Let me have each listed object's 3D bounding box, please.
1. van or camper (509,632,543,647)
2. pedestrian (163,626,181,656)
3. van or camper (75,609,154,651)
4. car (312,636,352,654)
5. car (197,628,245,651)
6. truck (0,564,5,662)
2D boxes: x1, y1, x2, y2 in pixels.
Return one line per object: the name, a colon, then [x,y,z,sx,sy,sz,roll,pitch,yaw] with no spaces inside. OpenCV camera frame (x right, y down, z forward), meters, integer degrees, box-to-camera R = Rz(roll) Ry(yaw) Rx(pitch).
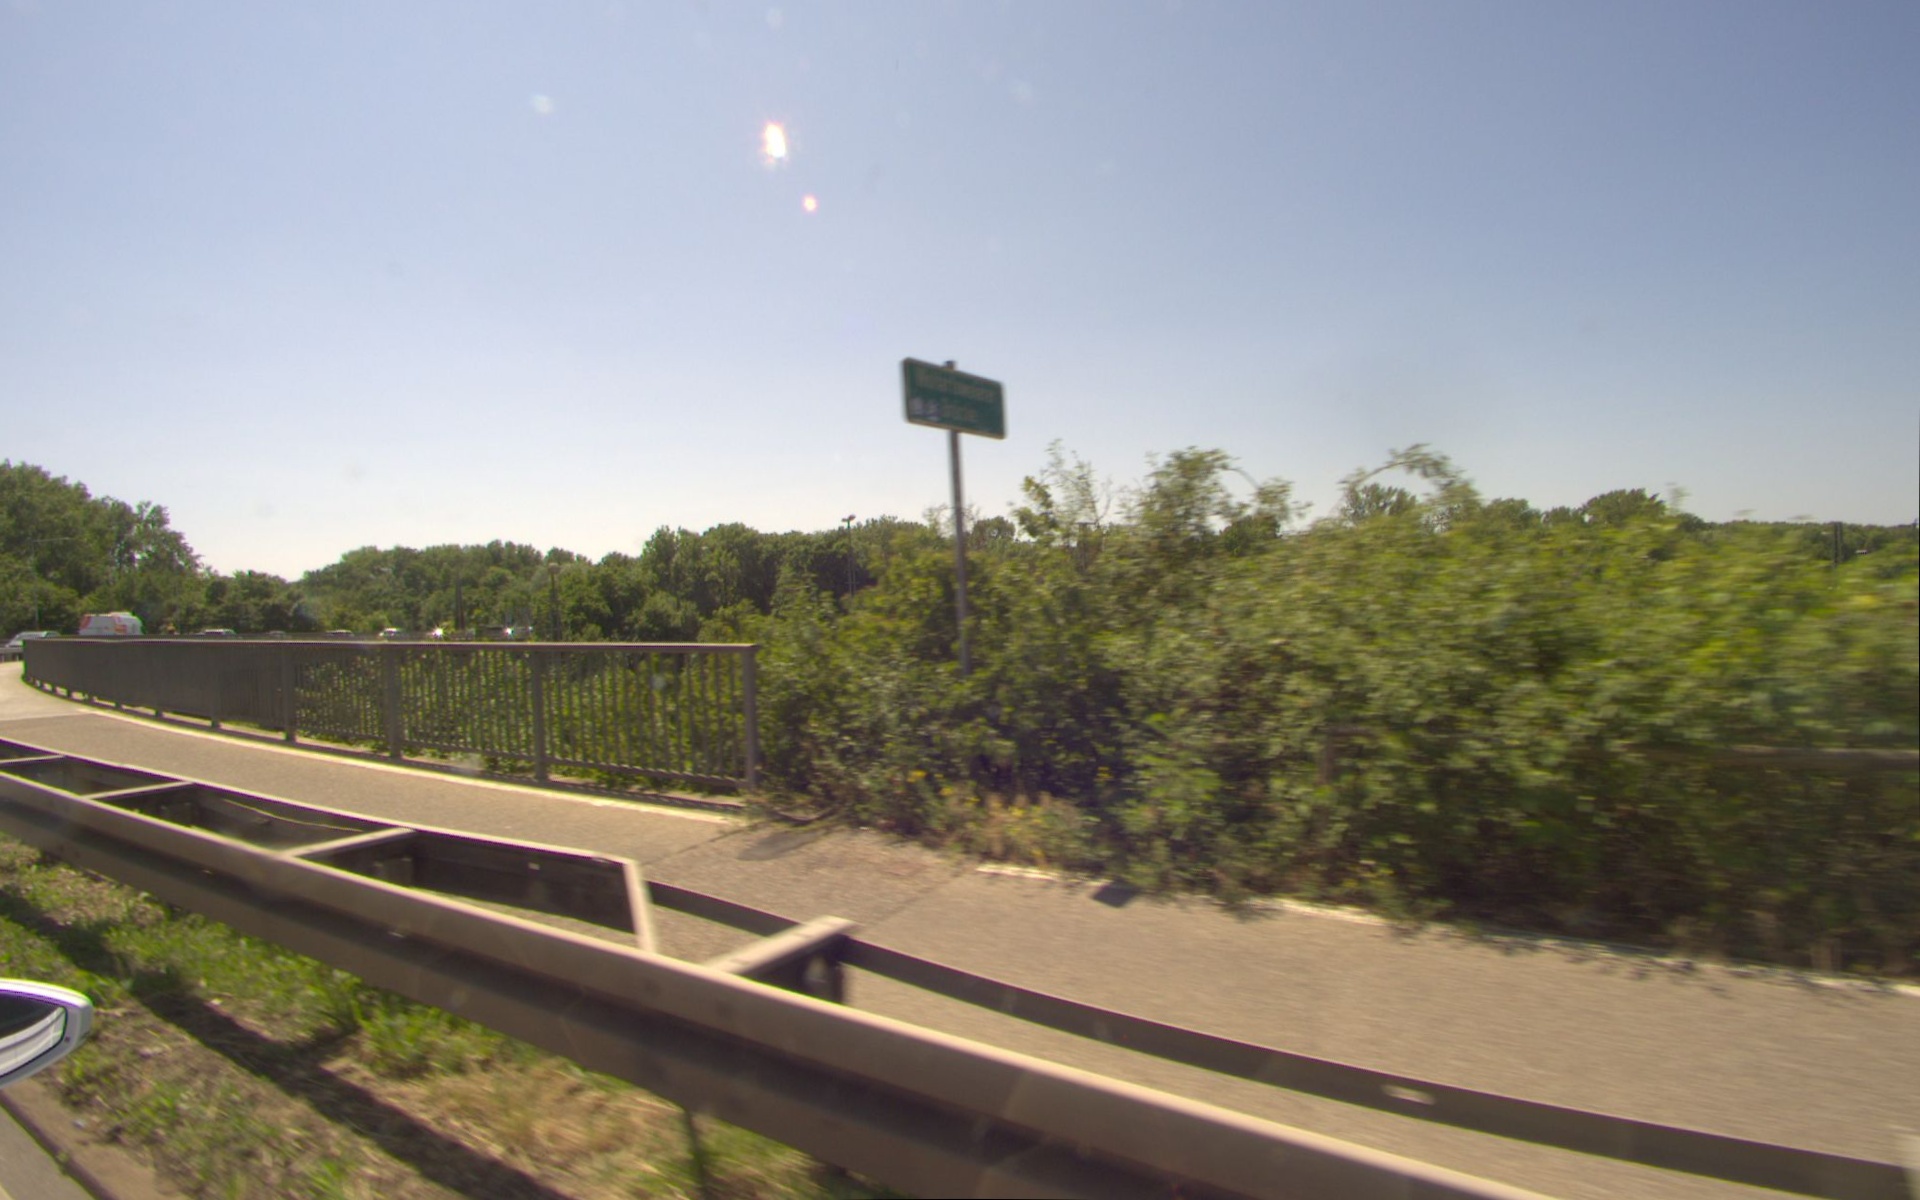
van or camper: [-67.444,6.096,155.689,2.446,2.322,4.956,0,-1,14]
pedestrian: [-51.763,2.689,65.758,0.727,1.992,0.732,1,-2,-23]
van or camper: [-57.519,2.042,68.252,2.173,2.746,5.912,0,-1,-20]
car: [-66.816,4.826,106.620,1.858,1.873,4.002,0,-3,-4]
car: [-62.198,3.327,84.353,1.861,1.873,3.996,0,-3,-15]
truck: [-45.594,0.474,44.770,3.142,4.642,7.346,1,-3,-36]
